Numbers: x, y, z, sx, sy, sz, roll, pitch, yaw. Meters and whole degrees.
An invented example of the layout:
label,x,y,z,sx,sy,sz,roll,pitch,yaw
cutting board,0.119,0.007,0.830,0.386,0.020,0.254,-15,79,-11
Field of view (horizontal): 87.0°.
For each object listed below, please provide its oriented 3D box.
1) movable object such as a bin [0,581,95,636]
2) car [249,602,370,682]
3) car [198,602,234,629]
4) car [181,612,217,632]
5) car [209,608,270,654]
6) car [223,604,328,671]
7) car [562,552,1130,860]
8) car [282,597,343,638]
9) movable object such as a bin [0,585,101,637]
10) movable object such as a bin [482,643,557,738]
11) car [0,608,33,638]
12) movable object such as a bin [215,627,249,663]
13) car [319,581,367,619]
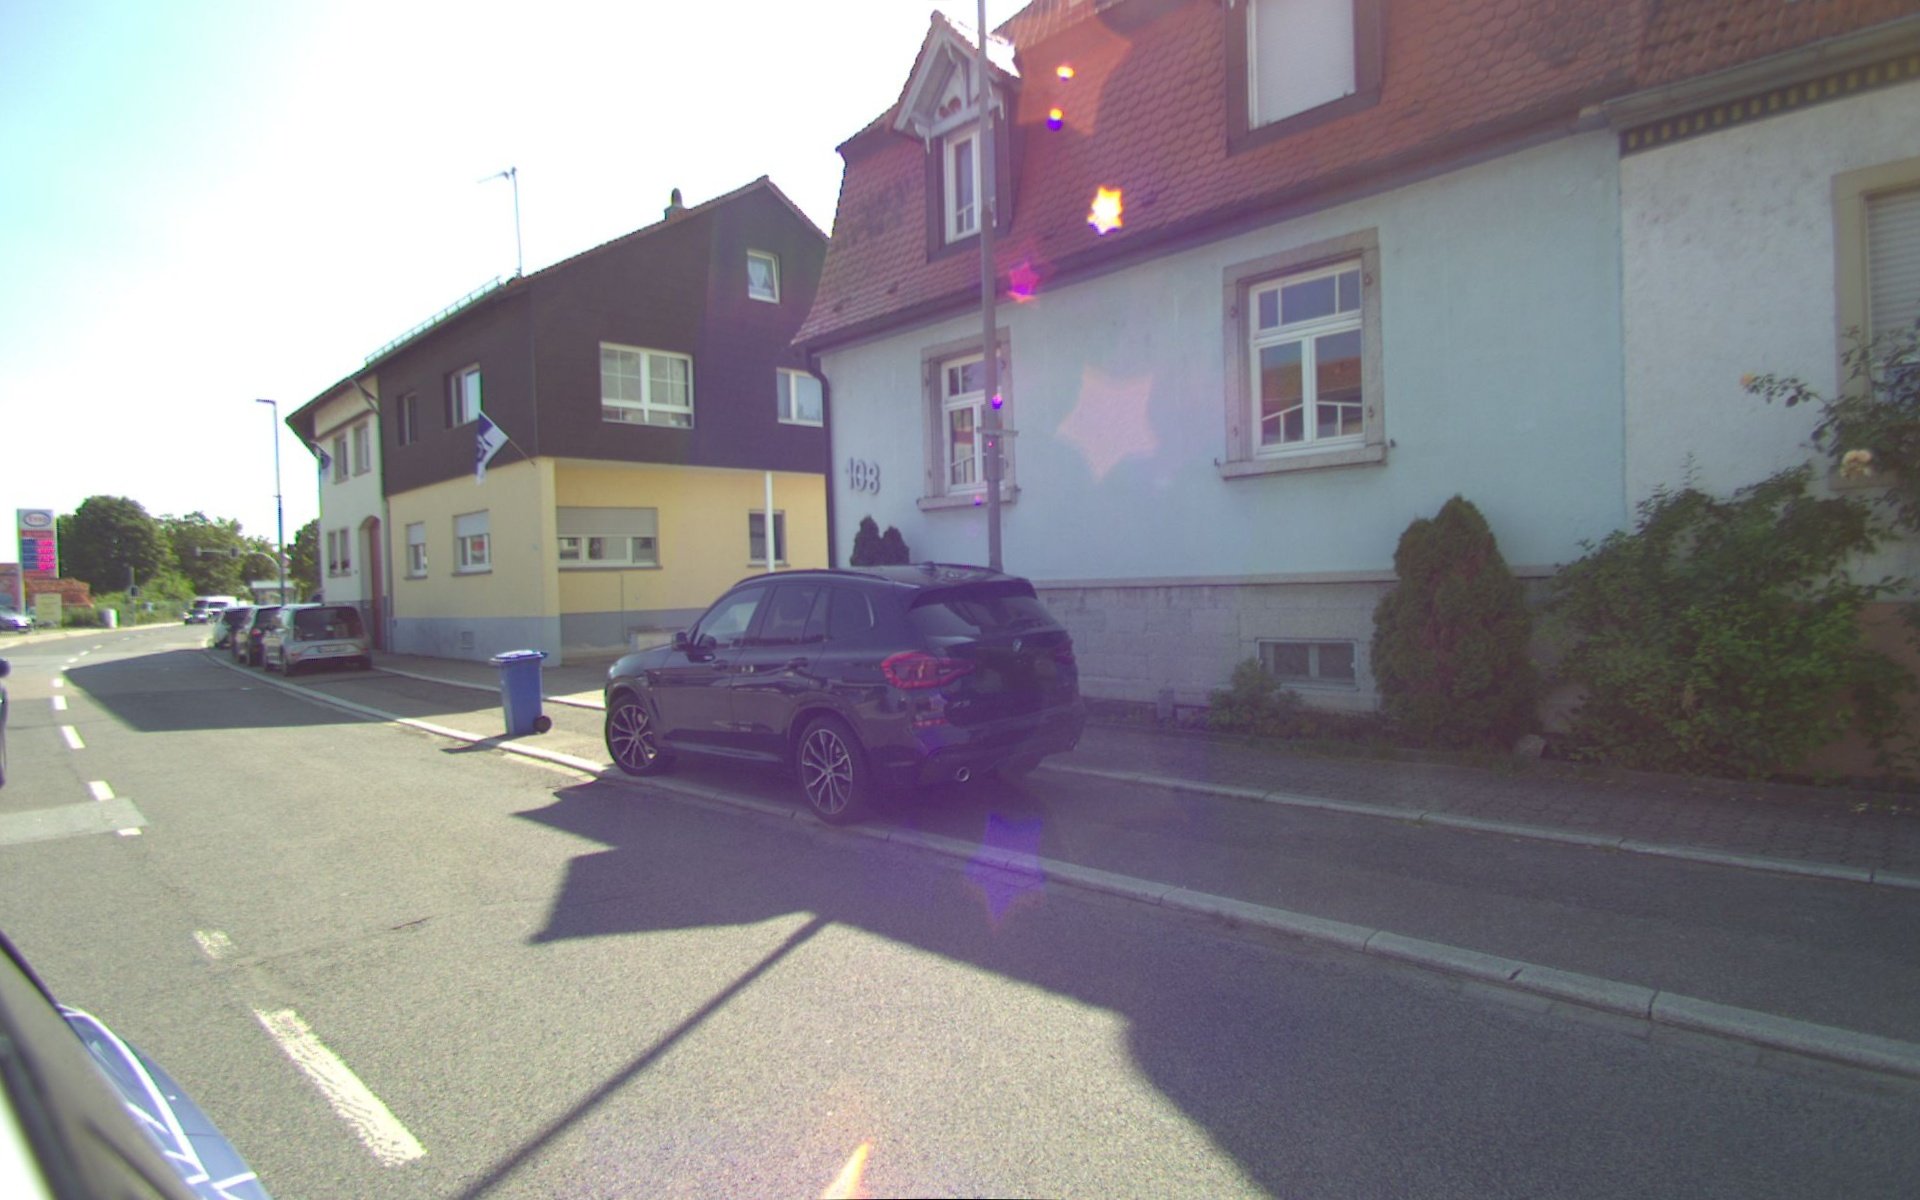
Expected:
label,x,y,z,sx,sy,sz,roll,pitch,yaw
movable object such as a bin,-75.607,0.745,75.997,15.835,4.048,2.781,-2,0,-34
car,-14.448,0.863,22.391,1.621,1.512,3.786,-5,3,-41
car,-73.372,1.465,99.879,1.906,2.521,5.857,-1,1,-26
car,-66.736,1.915,88.783,1.815,1.604,4.119,-1,1,-26
car,-25.676,1.051,36.065,1.662,1.473,3.658,-3,2,-36
car,-17.683,0.900,26.079,1.658,1.447,4.001,-6,4,-41
car,-1.164,0.589,8.026,4.667,1.680,1.899,-1,3,45
car,-31.603,0.808,49.481,1.811,1.806,4.357,-5,2,-25
movable object such as a bin,-79.274,0.963,83.029,13.075,4.196,2.871,-2,0,-34
movable object such as a bin,-5.012,1.012,11.526,0.531,0.989,0.590,-1,2,45
car,-52.949,1.287,54.794,4.130,1.567,1.771,-1,0,6
movable object such as a bin,-20.609,1.260,28.638,0.825,0.935,0.545,-2,4,43
car,-37.471,-0.036,61.428,2.098,2.000,5.279,-8,4,-33
